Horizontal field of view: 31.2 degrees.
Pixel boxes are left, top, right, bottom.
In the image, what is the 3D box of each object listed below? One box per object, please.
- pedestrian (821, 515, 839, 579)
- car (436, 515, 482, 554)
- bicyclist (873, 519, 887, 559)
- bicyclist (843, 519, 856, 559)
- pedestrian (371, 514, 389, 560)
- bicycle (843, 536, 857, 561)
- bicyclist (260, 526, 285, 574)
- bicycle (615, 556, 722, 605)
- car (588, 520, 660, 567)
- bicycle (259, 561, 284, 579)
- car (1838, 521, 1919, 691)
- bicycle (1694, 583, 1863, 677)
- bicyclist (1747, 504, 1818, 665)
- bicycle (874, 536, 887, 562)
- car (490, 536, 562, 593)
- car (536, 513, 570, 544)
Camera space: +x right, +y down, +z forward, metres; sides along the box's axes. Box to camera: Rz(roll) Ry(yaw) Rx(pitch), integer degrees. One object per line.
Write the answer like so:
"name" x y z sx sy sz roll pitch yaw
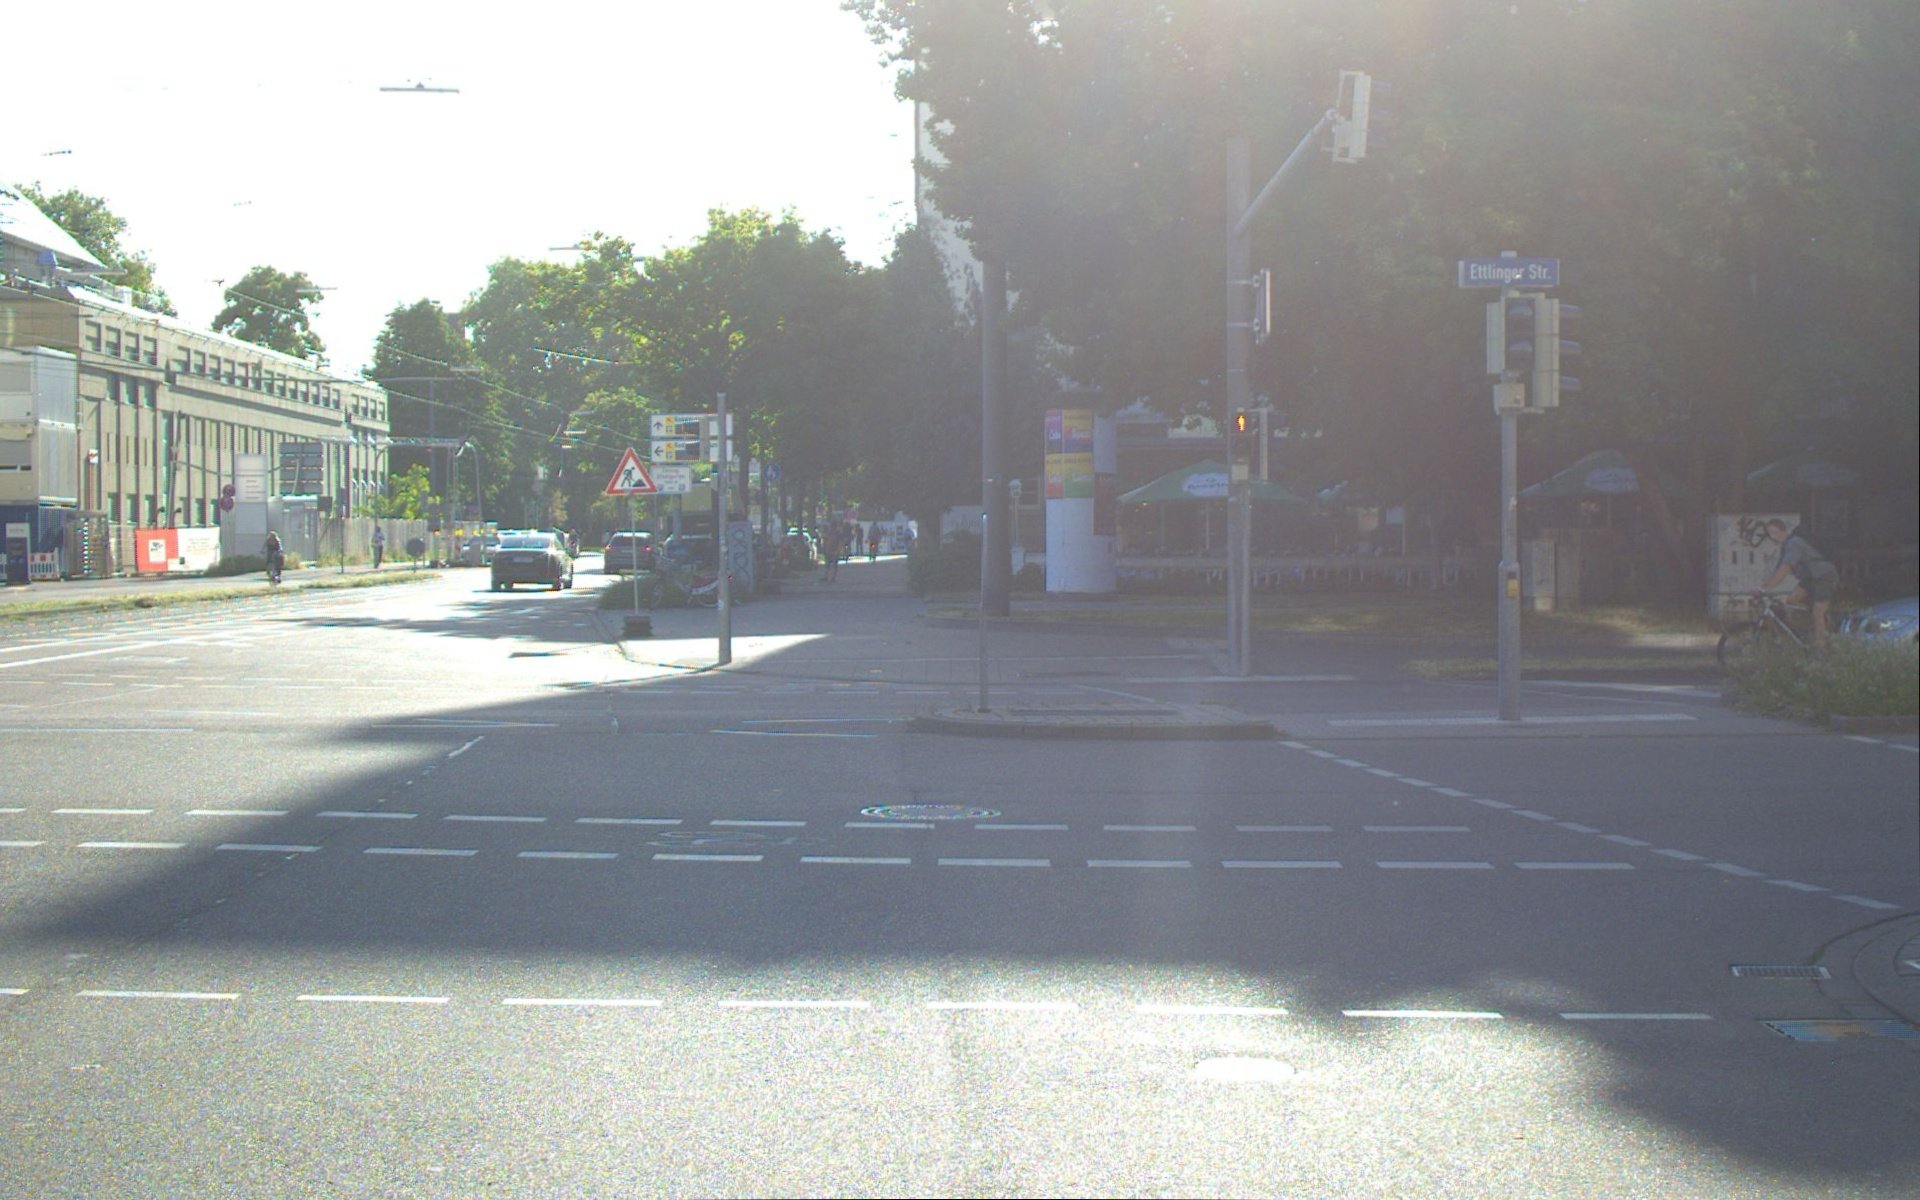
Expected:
"pedestrian" -3.703 -1.505 97.685 0.463 1.807 0.503 0 1 -5
"car" -22.782 -2.974 156.458 1.692 1.712 4.248 1 1 -4
"bicyclist" -3.424 -2.605 147.360 0.569 1.685 0.700 0 1 -1
"bicyclist" -4.734 -2.611 147.251 0.569 1.685 0.700 0 1 -1
"pedestrian" -25.466 -2.759 151.026 0.674 2.007 0.751 1 0 -3
"bicycle" -4.727 -2.210 147.227 0.575 1.073 1.831 0 1 -1
"bicyclist" -19.788 -1.428 98.981 0.596 1.372 0.638 1 0 -2
"bicycle" -5.730 -0.385 67.495 2.018 0.888 0.650 -2 0 27
"car" -12.092 -2.049 123.978 1.892 1.560 4.807 3 1 2
"bicycle" -19.816 -0.859 98.988 0.501 0.513 1.258 1 1 -1
"car" 10.757 0.024 33.427 3.993 1.605 1.650 -1 1 -1
"bicycle" 8.587 0.315 36.094 1.667 0.960 0.533 0 1 5
"bicyclist" 8.632 -0.162 36.092 0.643 1.677 0.507 0 1 5
"bicycle" -3.409 -2.192 147.337 0.575 1.073 1.831 0 1 -1
"car" -11.361 -0.949 90.106 1.660 1.450 4.433 1 1 -5
"car" -23.024 -4.042 194.704 1.692 1.712 4.248 1 1 -4
